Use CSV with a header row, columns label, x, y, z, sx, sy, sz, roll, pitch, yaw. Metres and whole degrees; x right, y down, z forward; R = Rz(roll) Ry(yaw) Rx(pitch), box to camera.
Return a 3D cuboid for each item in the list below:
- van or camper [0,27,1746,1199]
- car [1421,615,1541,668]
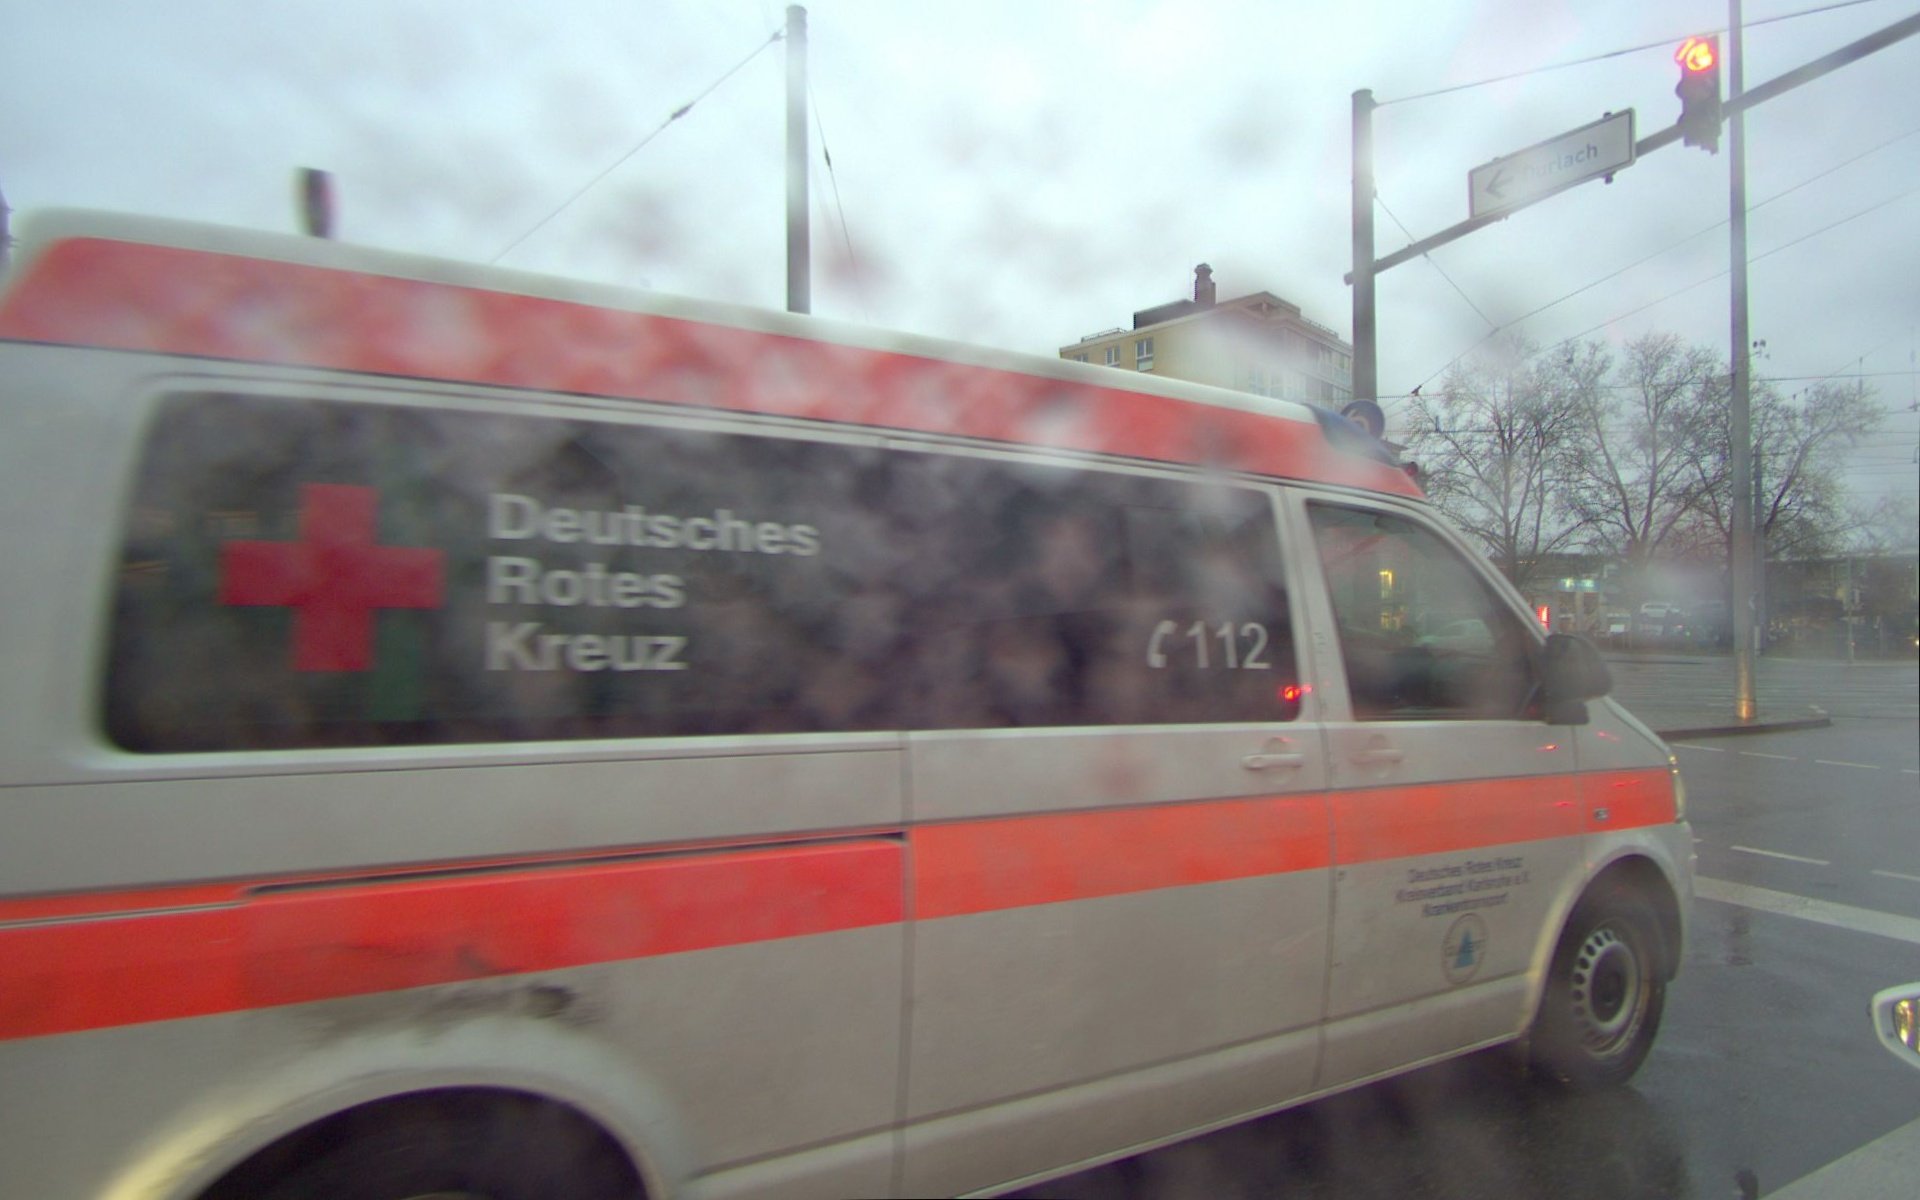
label,x,y,z,sx,sy,sz,roll,pitch,yaw
van or camper,-0.046,0.398,3.137,4.926,2.137,2.192,1,0,-29
car,23.020,1.819,44.487,4.351,2.040,1.903,2,-3,40
